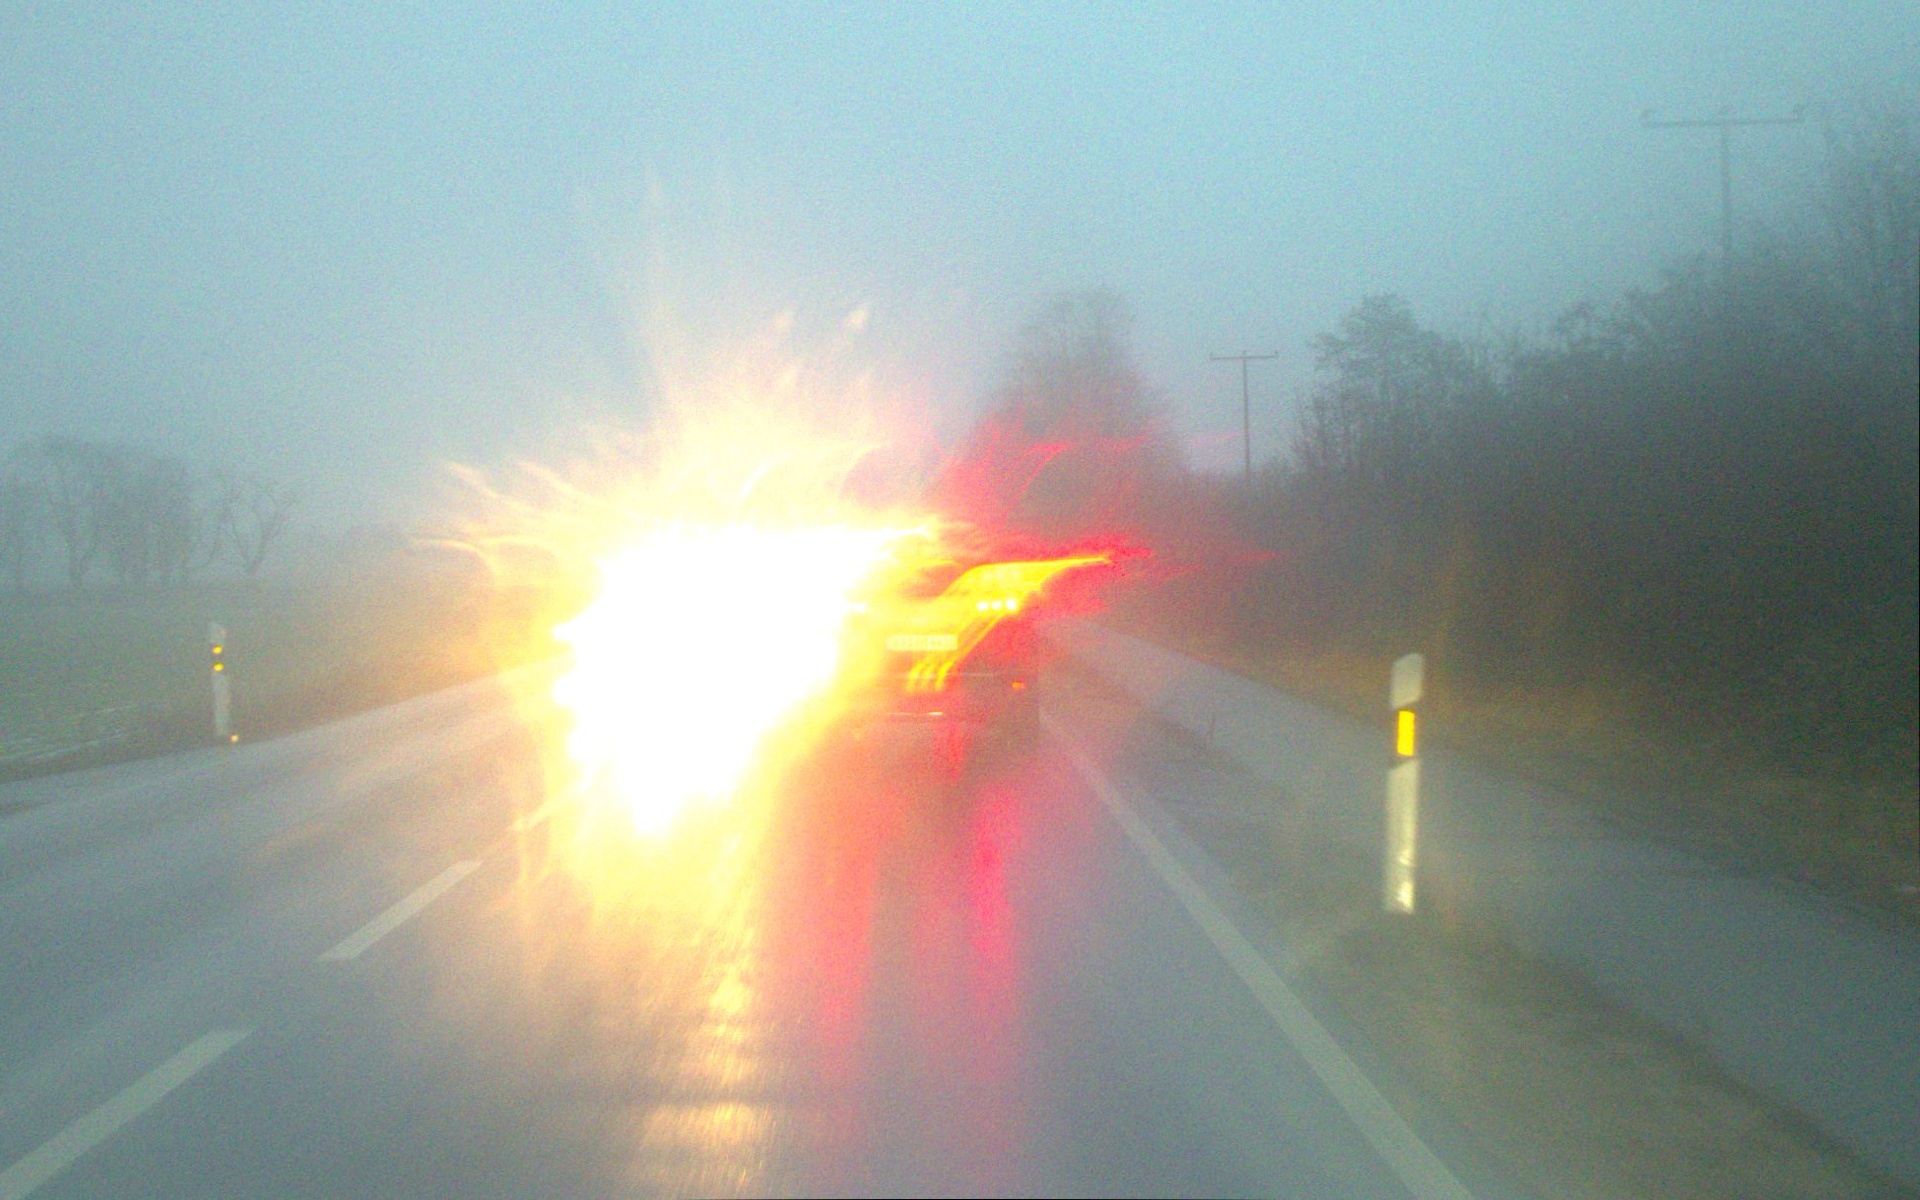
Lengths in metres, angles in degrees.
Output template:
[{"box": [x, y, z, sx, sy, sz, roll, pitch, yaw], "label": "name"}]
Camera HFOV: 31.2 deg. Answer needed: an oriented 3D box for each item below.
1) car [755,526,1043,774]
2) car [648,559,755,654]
[{"box": [-0.472, 0.430, 27.801, 2.120, 1.814, 4.980, 0, -2, -1], "label": "car"}, {"box": [-4.886, 0.097, 65.394, 1.795, 1.680, 4.187, -2, 1, -2], "label": "car"}]
